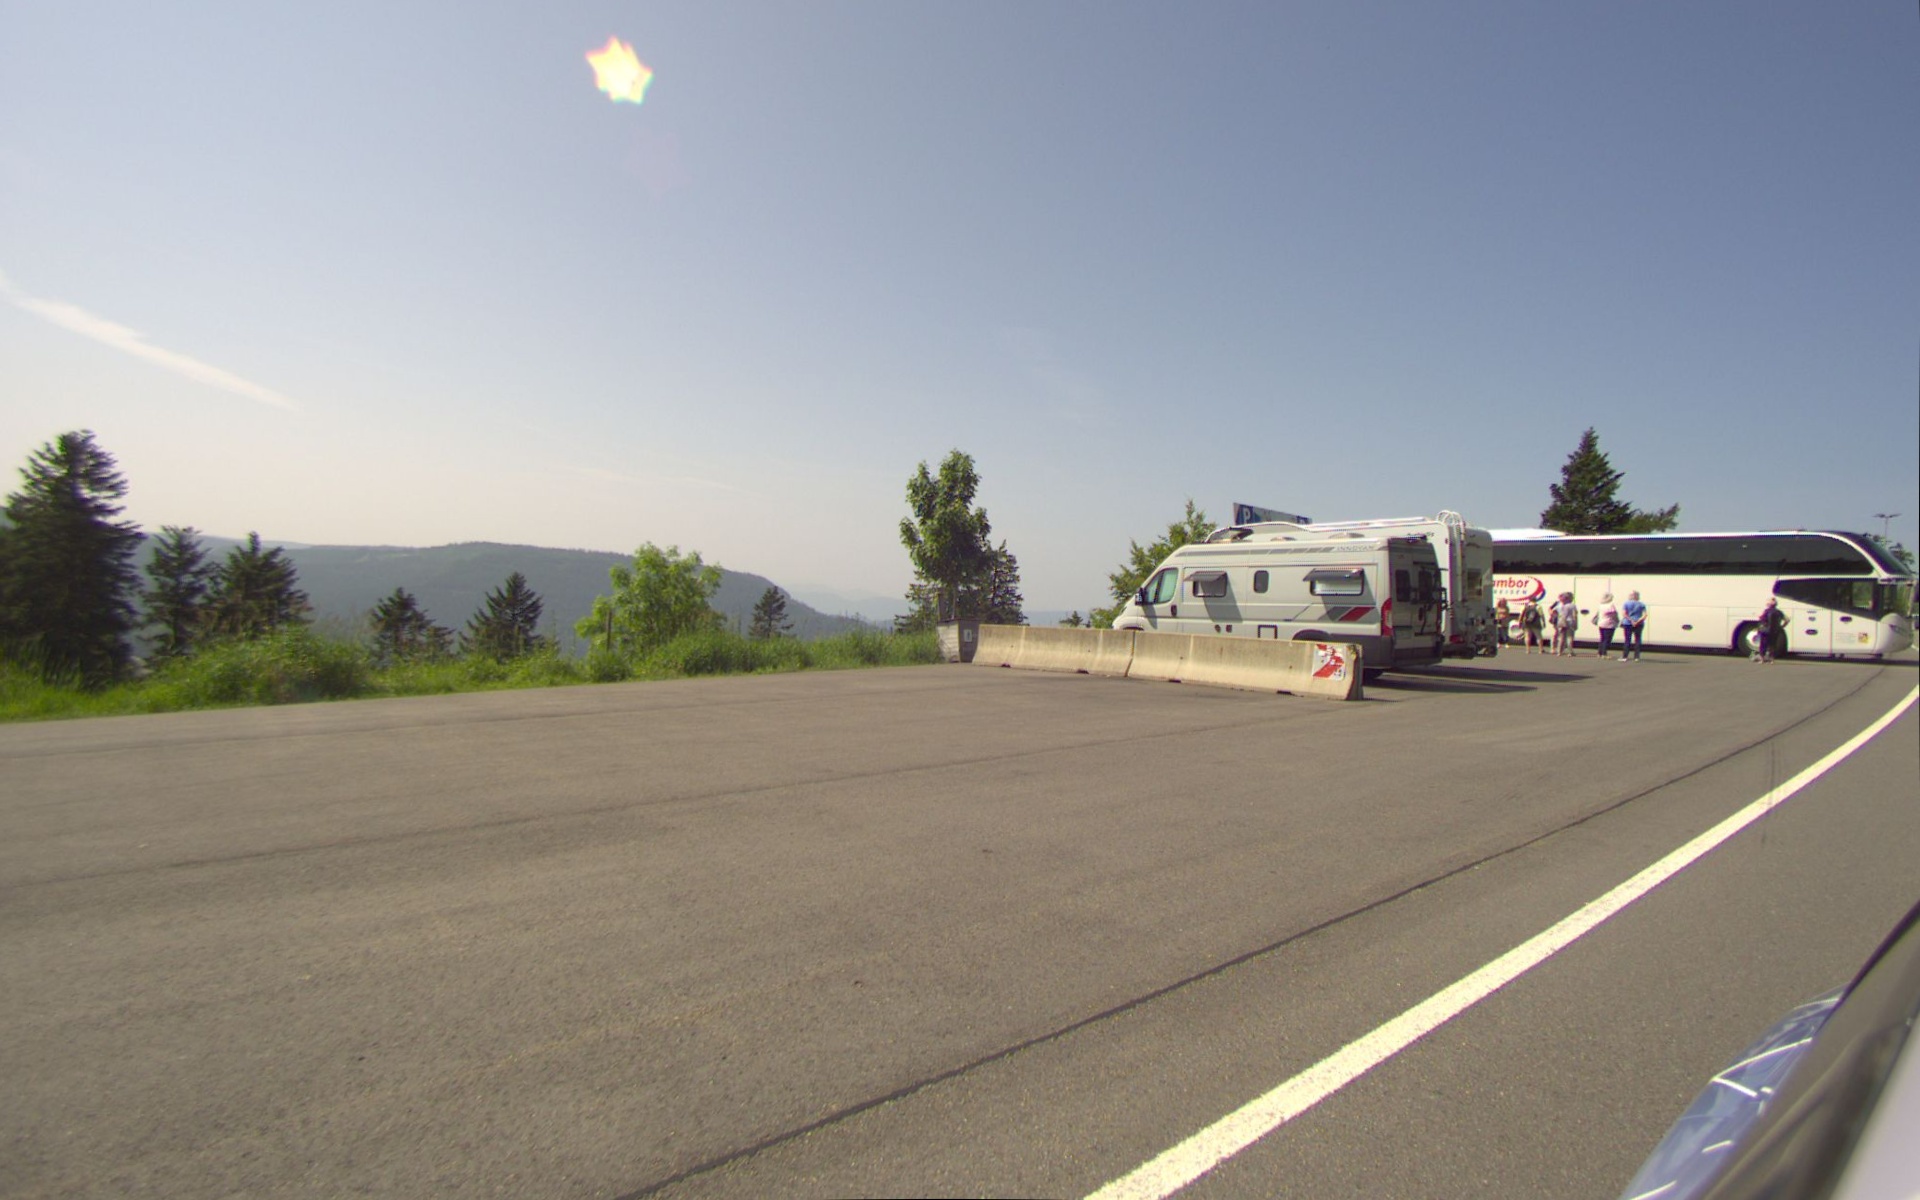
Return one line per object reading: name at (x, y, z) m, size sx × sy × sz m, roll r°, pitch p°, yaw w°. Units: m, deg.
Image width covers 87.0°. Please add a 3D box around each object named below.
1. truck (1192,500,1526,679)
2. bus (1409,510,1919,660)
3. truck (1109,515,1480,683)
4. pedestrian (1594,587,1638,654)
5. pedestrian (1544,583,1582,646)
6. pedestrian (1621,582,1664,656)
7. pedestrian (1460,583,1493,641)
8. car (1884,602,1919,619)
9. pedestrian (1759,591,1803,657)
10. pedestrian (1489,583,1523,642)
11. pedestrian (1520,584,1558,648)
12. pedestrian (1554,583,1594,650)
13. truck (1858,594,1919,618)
truck at (8.217, -0.297, 21.407) m, size 2.490 × 3.235 × 6.071 m, roll 0°, pitch 2°, yaw -43°
bus at (20.433, -0.560, 30.209) m, size 2.789 × 3.622 × 12.874 m, roll 1°, pitch 1°, yaw -40°
truck at (5.953, -0.109, 18.914) m, size 2.299 × 2.623 × 6.273 m, roll 1°, pitch 1°, yaw -41°
pedestrian at (16.676, 0.504, 25.733) m, size 0.615 × 1.671 × 0.633 m, roll 1°, pitch 1°, yaw -18°
pedestrian at (16.647, 0.394, 27.939) m, size 0.615 × 1.700 × 0.633 m, roll 1°, pitch 1°, yaw -28°
pedestrian at (16.821, 0.464, 24.934) m, size 0.615 × 1.780 × 0.633 m, roll 1°, pitch 1°, yaw -28°
pedestrian at (15.658, 0.350, 30.682) m, size 0.615 × 1.718 × 0.633 m, roll 1°, pitch 1°, yaw -28°
car at (113.473, 1.285, 120.316) m, size 5.239 × 1.929 × 1.969 m, roll 3°, pitch 2°, yaw 44°
pedestrian at (20.289, 0.582, 25.007) m, size 0.615 × 1.586 × 0.633 m, roll 1°, pitch 1°, yaw -28°
pedestrian at (16.291, 0.377, 30.201) m, size 0.615 × 1.718 × 0.633 m, roll 1°, pitch 1°, yaw -28°
pedestrian at (15.749, 0.422, 27.517) m, size 0.615 × 1.718 × 0.633 m, roll 1°, pitch 1°, yaw -28°
pedestrian at (16.208, 0.428, 26.717) m, size 0.615 × 1.719 × 0.633 m, roll 1°, pitch 1°, yaw -28°
truck at (117.509, 0.731, 127.267) m, size 8.576 × 2.865 × 2.877 m, roll 1°, pitch 1°, yaw -19°
